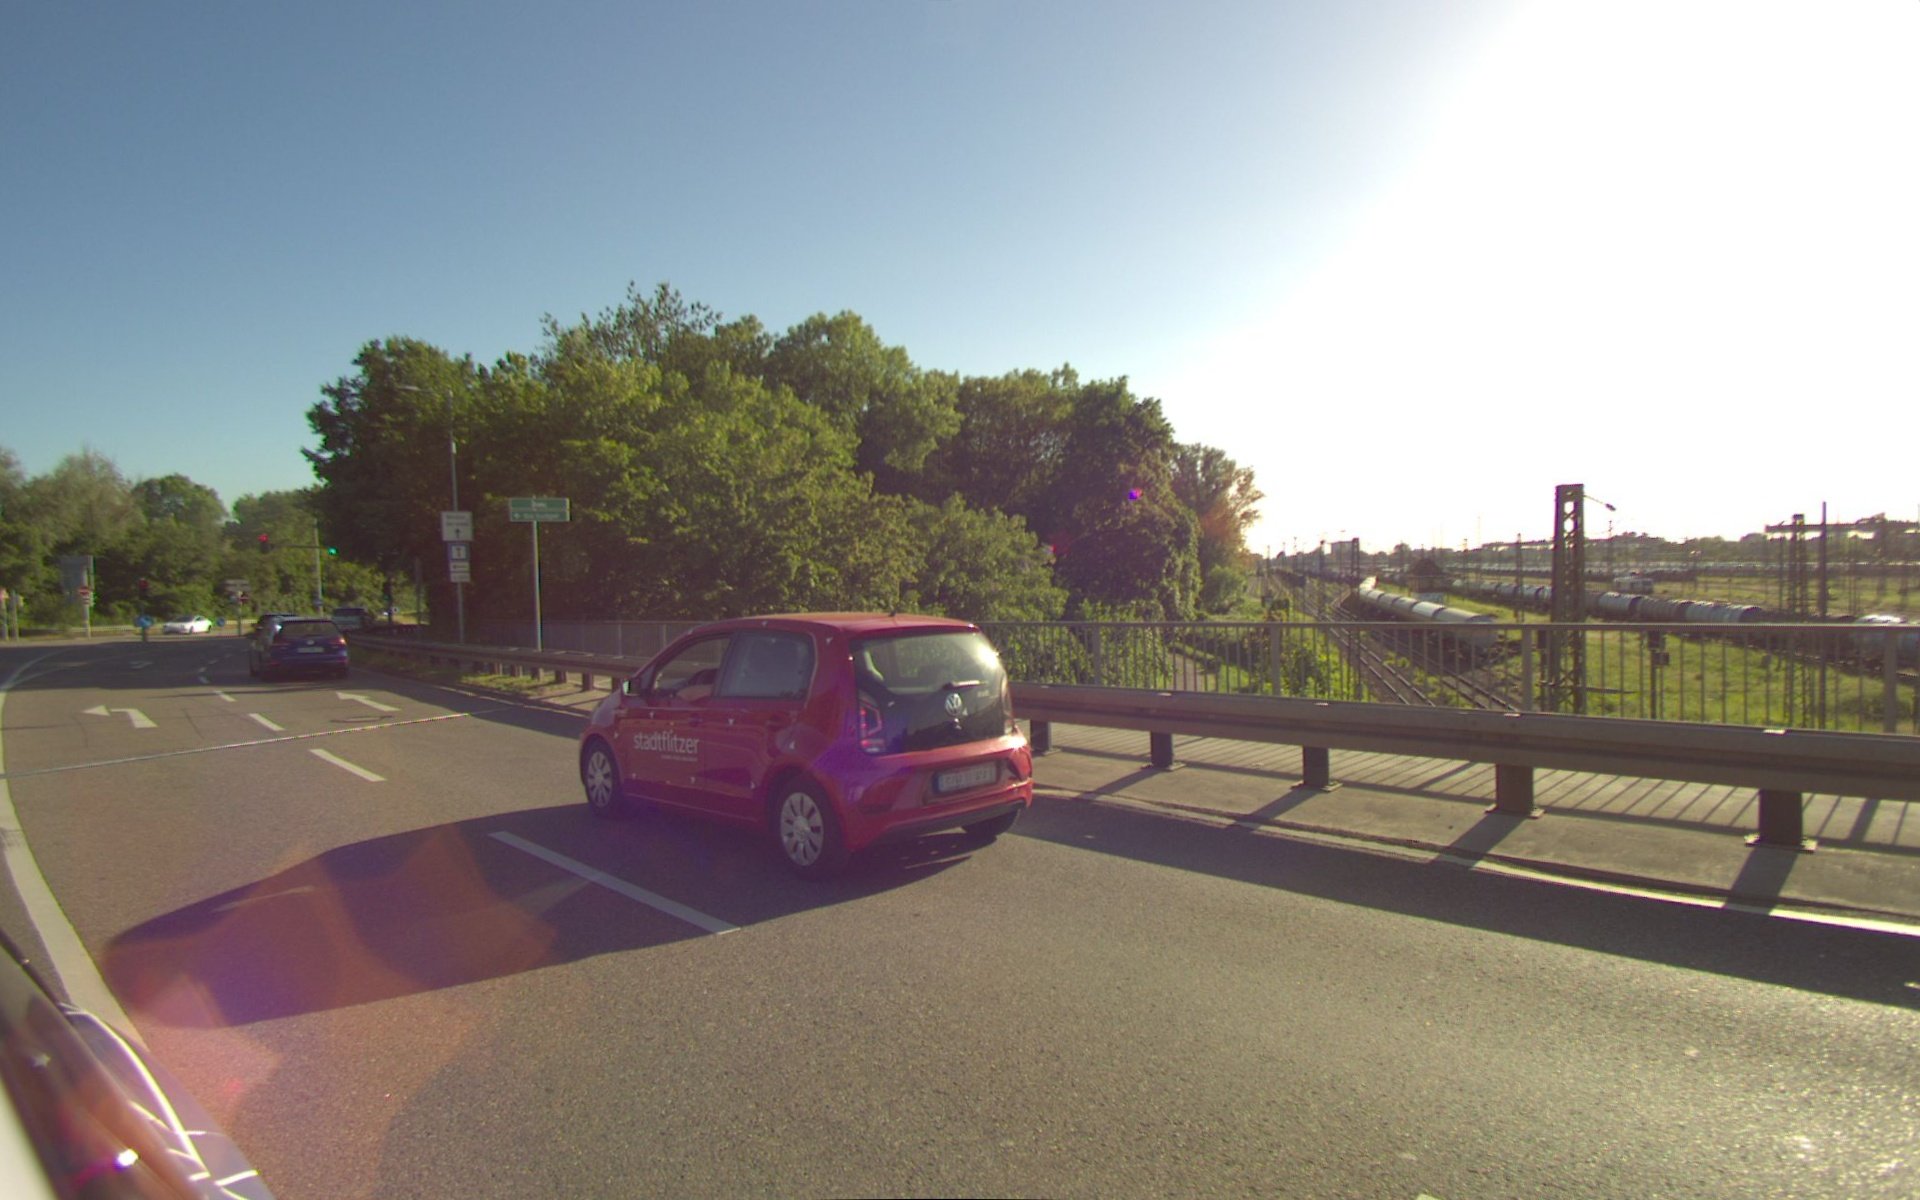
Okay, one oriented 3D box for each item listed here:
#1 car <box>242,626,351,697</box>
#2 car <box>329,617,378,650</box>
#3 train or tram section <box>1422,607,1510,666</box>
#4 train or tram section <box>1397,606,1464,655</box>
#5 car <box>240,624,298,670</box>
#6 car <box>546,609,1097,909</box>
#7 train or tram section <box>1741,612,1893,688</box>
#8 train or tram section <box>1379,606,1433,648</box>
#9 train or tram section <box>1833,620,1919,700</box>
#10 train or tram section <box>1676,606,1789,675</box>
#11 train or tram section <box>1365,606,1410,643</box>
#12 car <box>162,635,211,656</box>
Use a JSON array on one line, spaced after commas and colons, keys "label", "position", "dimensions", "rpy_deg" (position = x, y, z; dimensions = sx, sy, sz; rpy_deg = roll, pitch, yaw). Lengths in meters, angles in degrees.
[{"label": "car", "position": [-15.943, 1.391, 24.220], "dimensions": [1.702, 1.497, 4.414], "rpy_deg": [0, -1, -40]}, {"label": "car", "position": [-40.264, 2.188, 67.315], "dimensions": [1.921, 2.128, 5.288], "rpy_deg": [1, -1, -22]}, {"label": "train or tram section", "position": [48.770, 3.312, 98.470], "dimensions": [4.012, 5.125, 19.253], "rpy_deg": [-1, 0, 16]}, {"label": "train or tram section", "position": [53.869, 3.365, 116.460], "dimensions": [4.012, 5.125, 18.094], "rpy_deg": [-1, 0, 16]}, {"label": "car", "position": [-27.294, 1.807, 39.925], "dimensions": [1.780, 1.650, 4.009], "rpy_deg": [0, -1, -36]}, {"label": "car", "position": [-1.152, 0.805, 6.922], "dimensions": [3.877, 1.448, 1.761], "rpy_deg": [-1, -1, 45]}, {"label": "train or tram section", "position": [76.666, 4.206, 91.311], "dimensions": [3.872, 6.055, 16.867], "rpy_deg": [-1, 0, 17]}, {"label": "train or tram section", "position": [58.722, 3.417, 133.751], "dimensions": [4.012, 5.125, 17.776], "rpy_deg": [-1, 0, 16]}, {"label": "train or tram section", "position": [71.898, 4.401, 75.378], "dimensions": [3.872, 5.560, 16.414], "rpy_deg": [-1, 0, 17]}, {"label": "train or tram section", "position": [81.425, 4.000, 107.286], "dimensions": [3.872, 6.661, 16.414], "rpy_deg": [-1, 0, 17]}, {"label": "train or tram section", "position": [63.528, 3.468, 150.870], "dimensions": [4.012, 5.125, 17.776], "rpy_deg": [-1, 0, 16]}, {"label": "car", "position": [-60.714, 3.576, 79.524], "dimensions": [1.960, 1.484, 4.143], "rpy_deg": [-1, 0, -20]}]
